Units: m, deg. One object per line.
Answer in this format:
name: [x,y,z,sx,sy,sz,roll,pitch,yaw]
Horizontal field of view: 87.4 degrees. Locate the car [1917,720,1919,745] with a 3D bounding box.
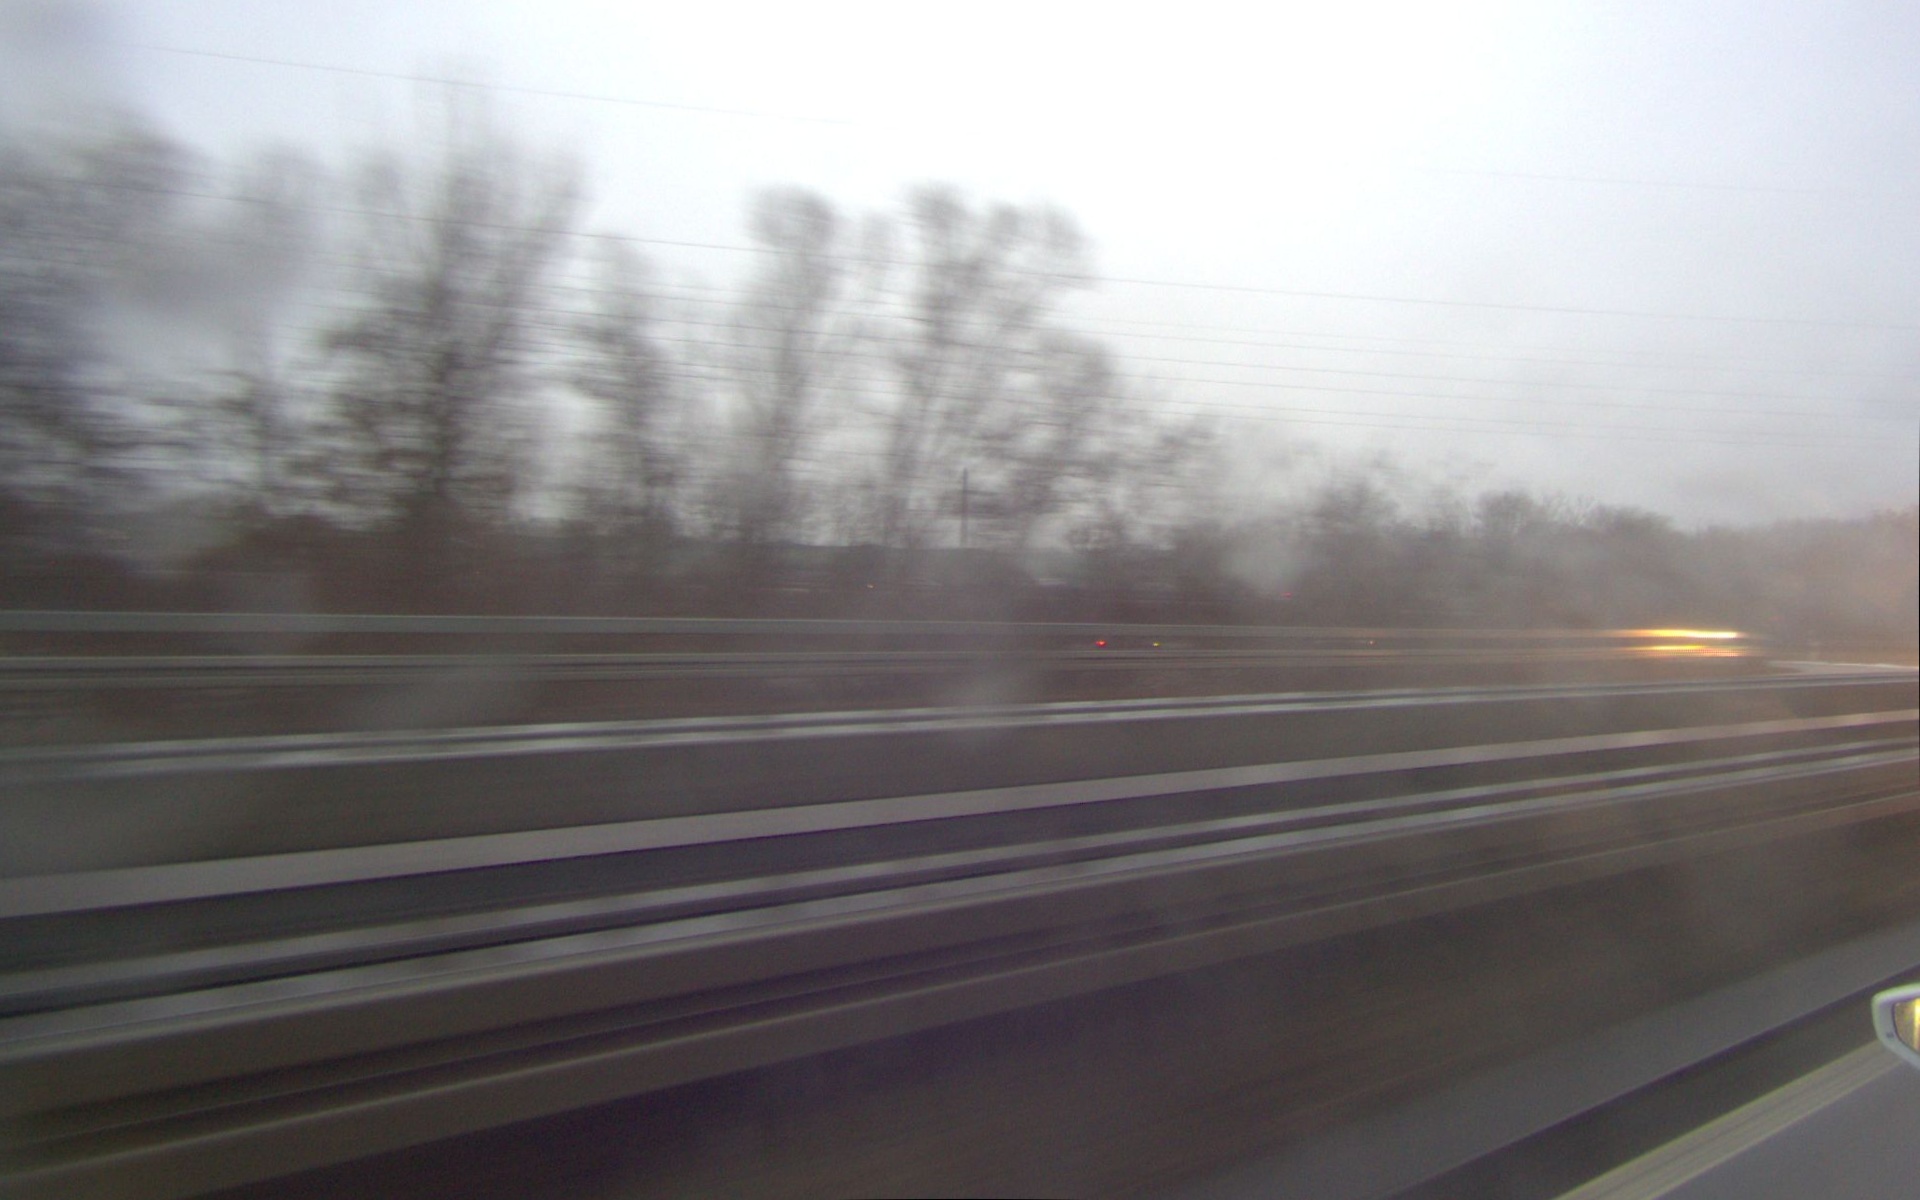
car: [20.339,1.808,19.028,4.946,2.041,1.982,2,3,-33]
